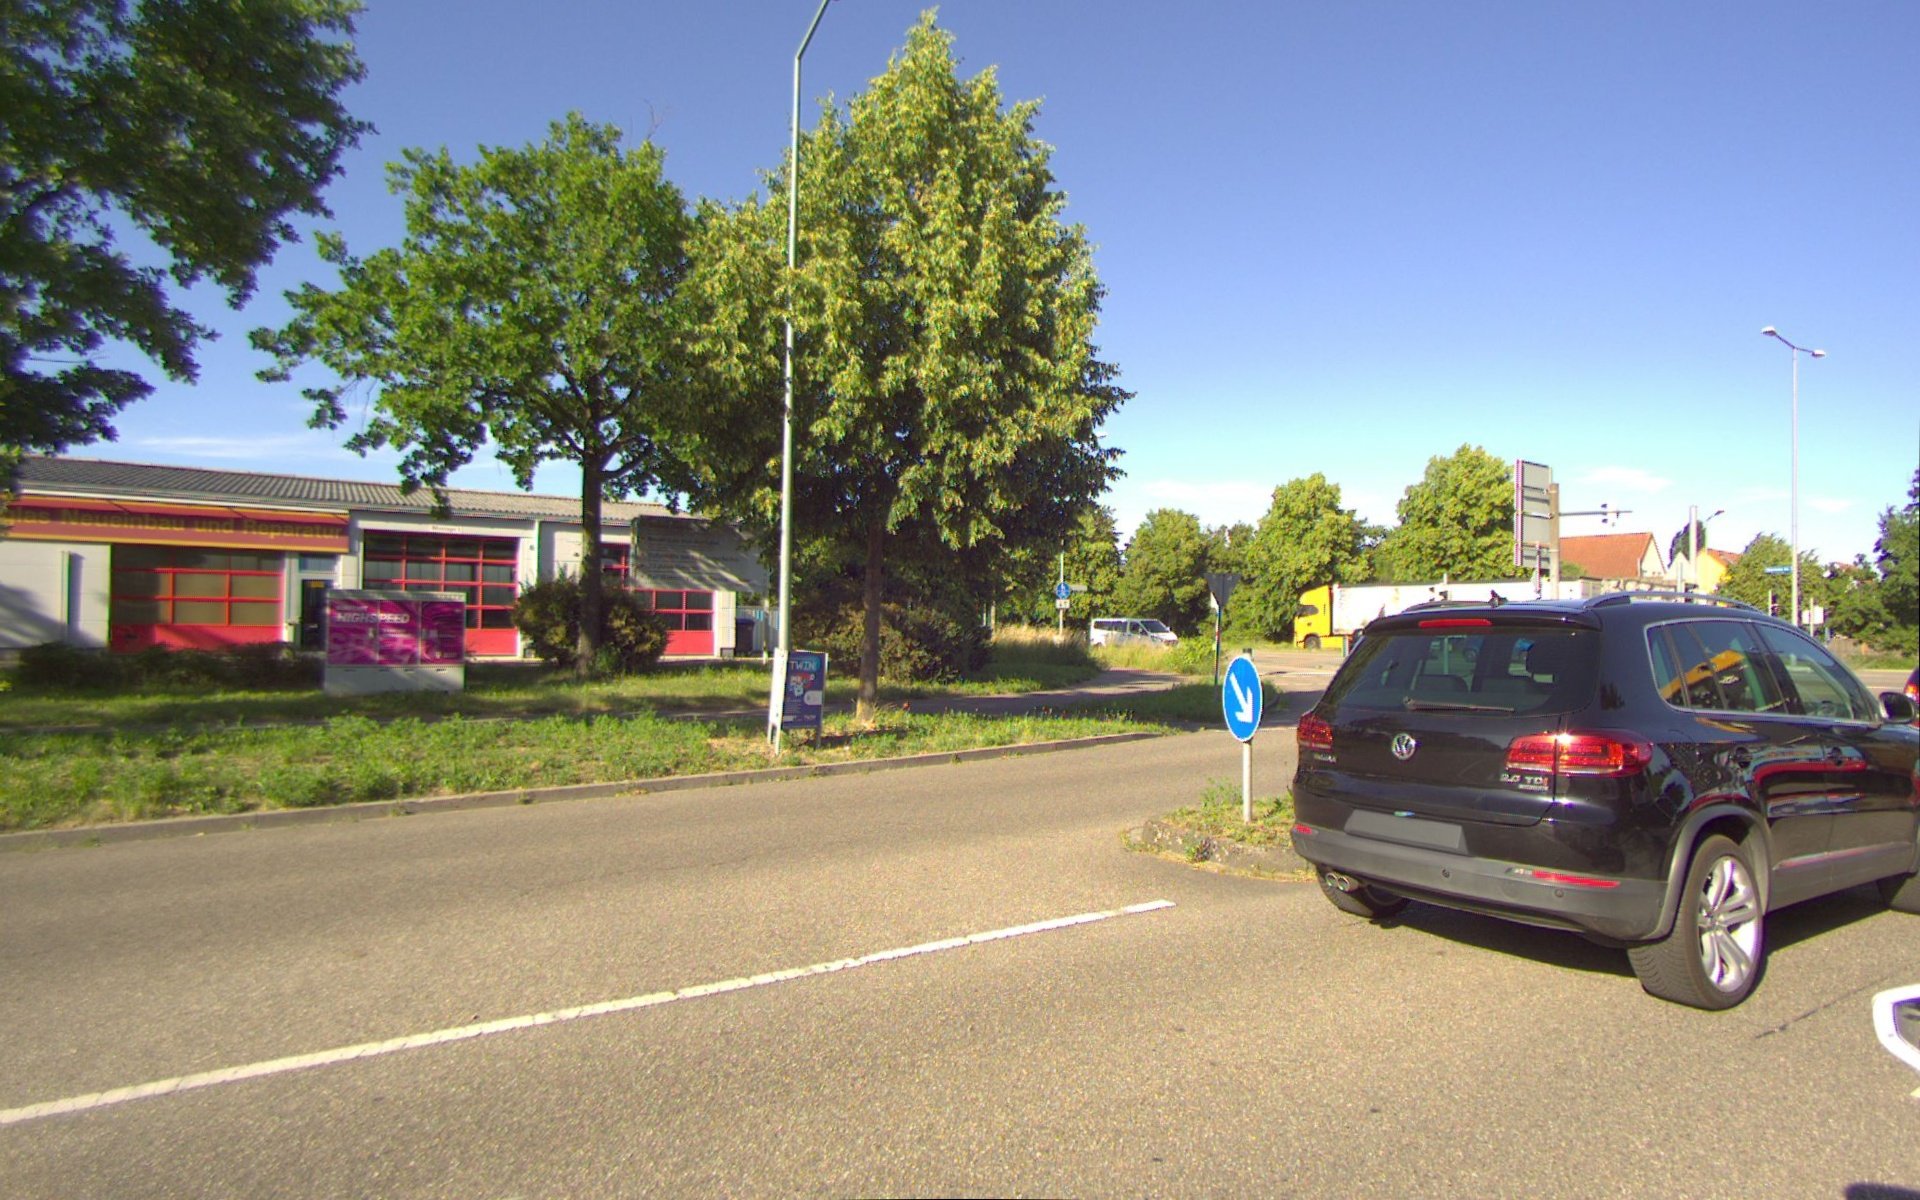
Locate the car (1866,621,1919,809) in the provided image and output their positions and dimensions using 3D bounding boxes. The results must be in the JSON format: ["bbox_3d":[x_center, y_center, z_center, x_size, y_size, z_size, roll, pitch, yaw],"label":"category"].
[{"bbox_3d":[10.226,1.010,9.207,3.954,1.610,1.753,1,-3,-31],"label":"car"}]

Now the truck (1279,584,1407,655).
[{"bbox_3d":[23.061,1.176,60.728,3.407,4.066,6.433,1,-1,-35],"label":"truck"}]

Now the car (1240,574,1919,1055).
[{"bbox_3d":[3.548,0.825,5.307,3.954,1.675,1.763,1,-3,-31],"label":"car"}]

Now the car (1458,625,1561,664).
[{"bbox_3d":[23.754,1.909,43.488,1.733,1.581,3.559,2,-2,-35],"label":"car"}]

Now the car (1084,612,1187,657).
[{"bbox_3d":[9.071,1.751,52.374,2.160,2.146,5.350,2,-1,-35],"label":"car"}]

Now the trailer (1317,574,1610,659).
[{"bbox_3d":[26.928,1.023,55.179,3.407,4.065,14.561,2,-2,-35],"label":"trailer"}]
